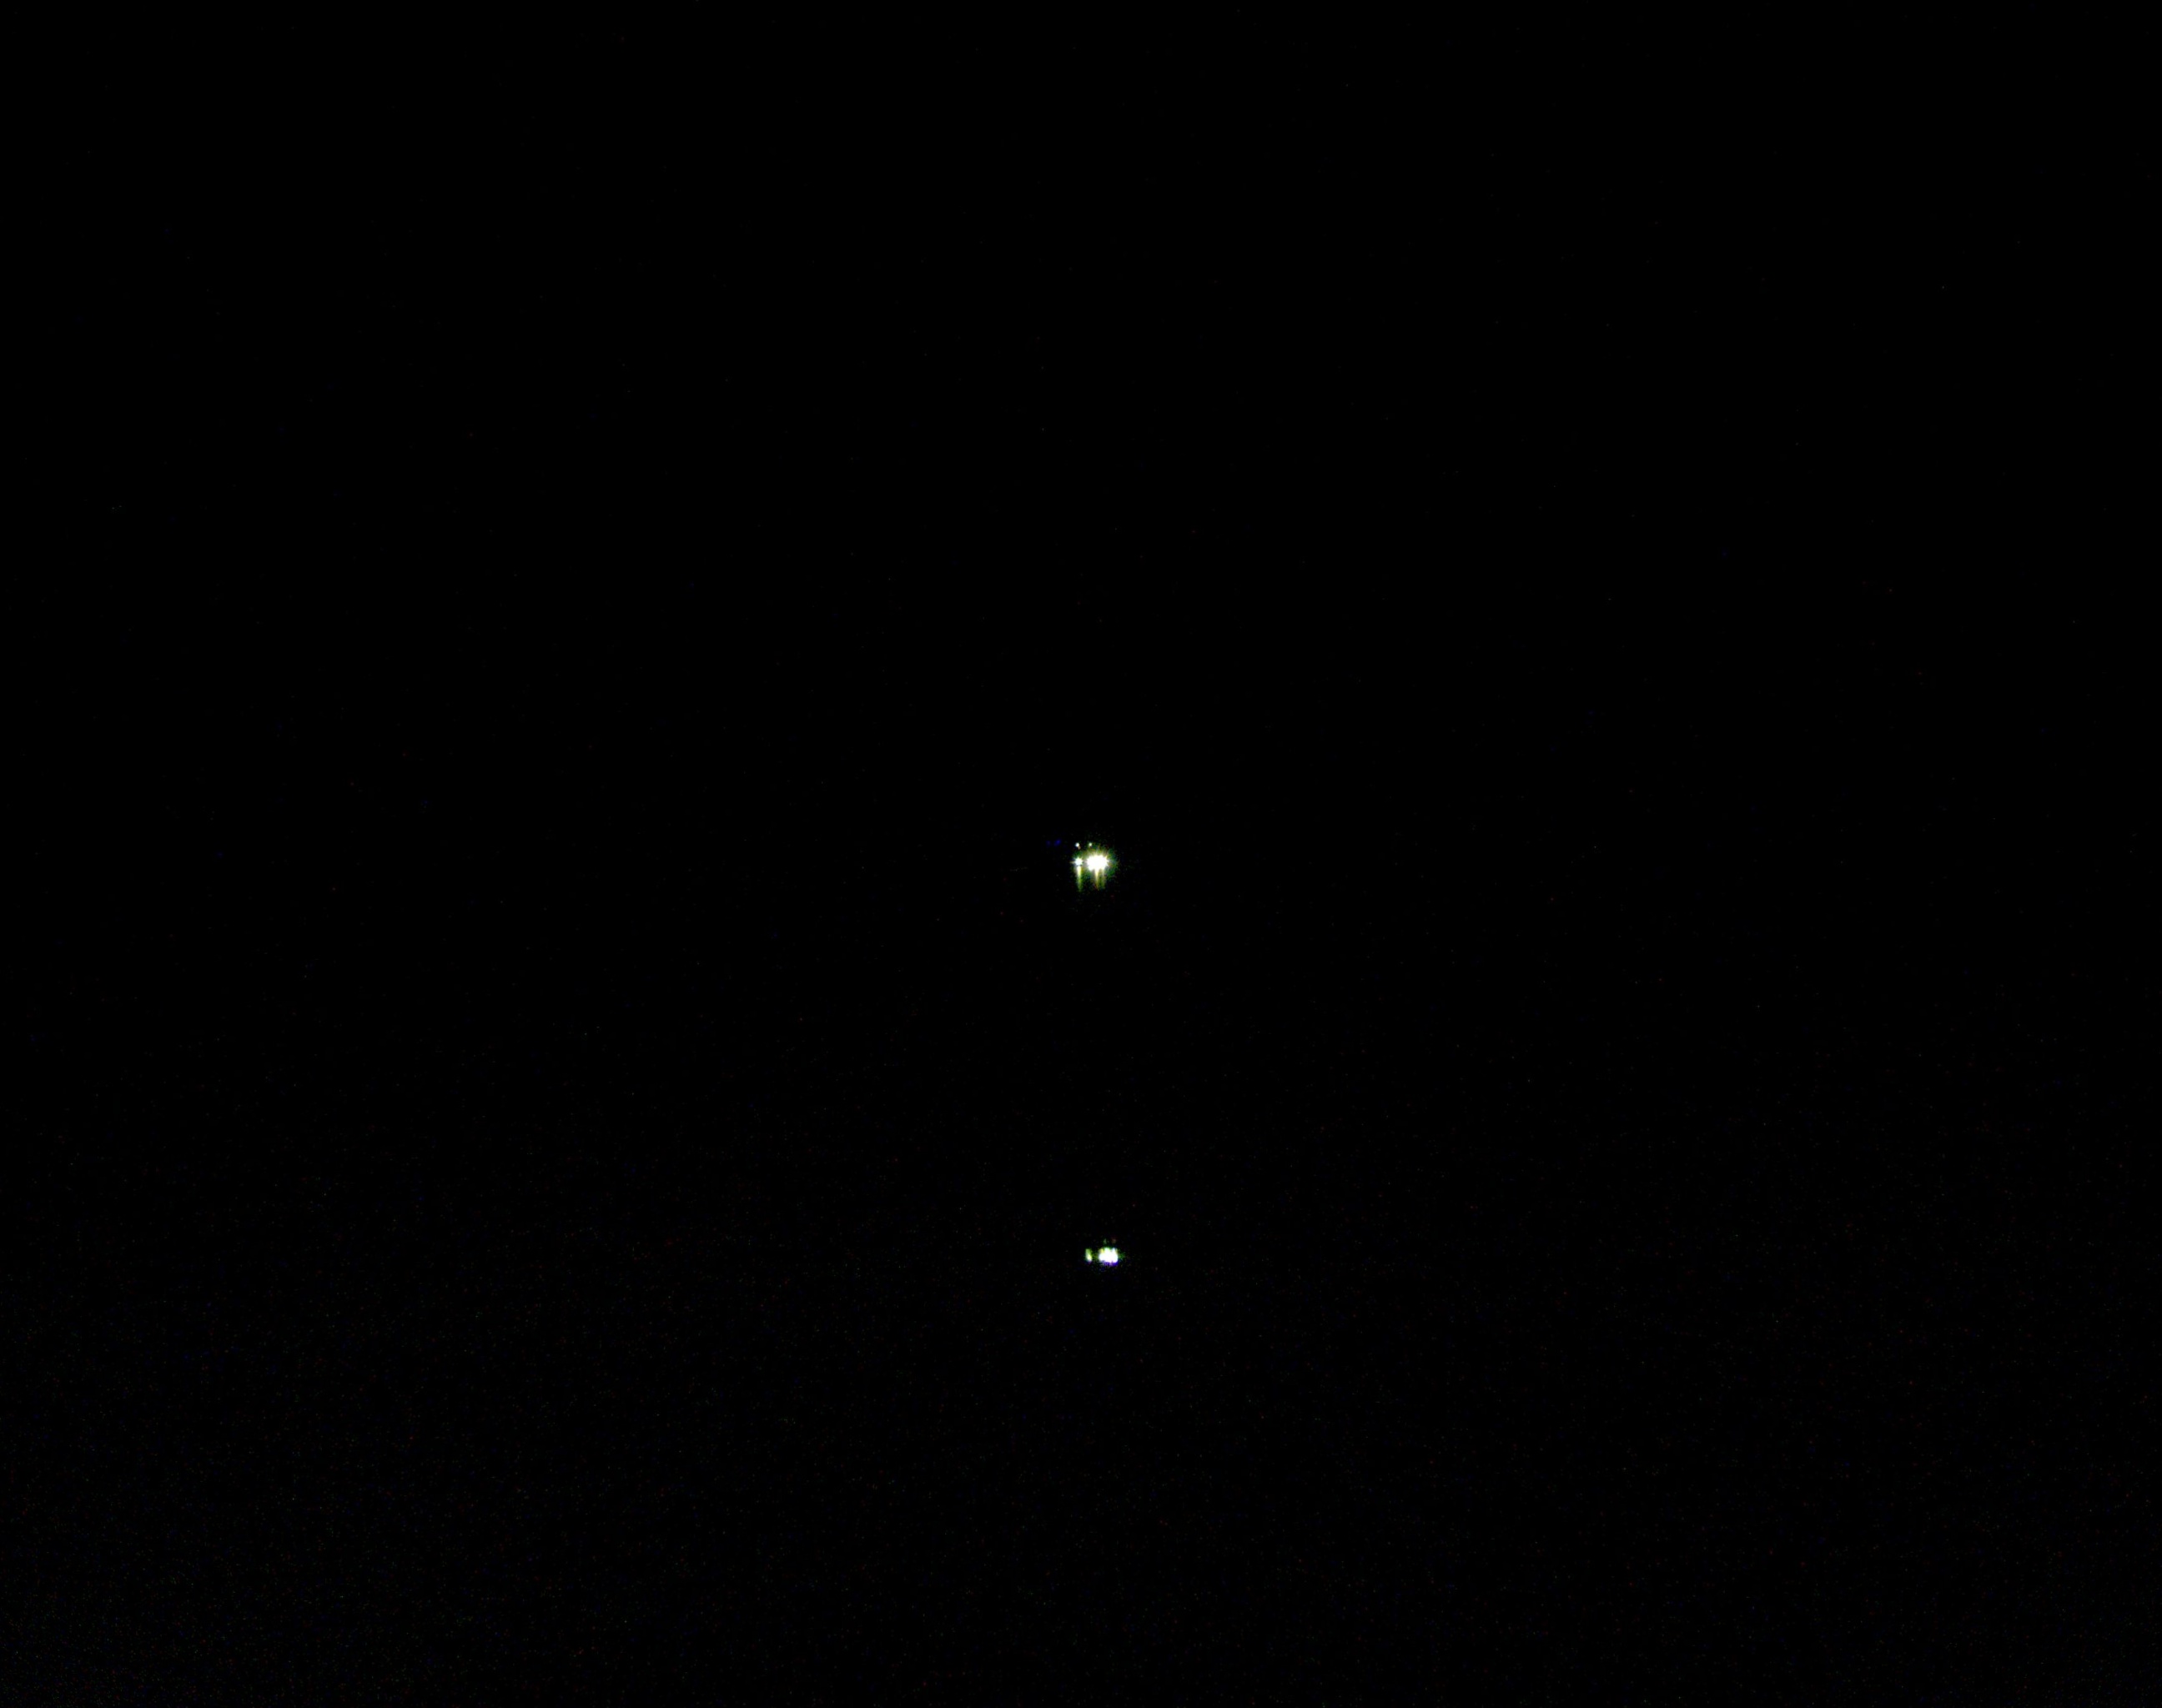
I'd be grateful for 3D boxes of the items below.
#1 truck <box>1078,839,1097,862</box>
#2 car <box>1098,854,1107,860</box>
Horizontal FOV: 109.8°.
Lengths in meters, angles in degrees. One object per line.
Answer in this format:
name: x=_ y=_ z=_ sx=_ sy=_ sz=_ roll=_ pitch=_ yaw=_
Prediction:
truck: x=1.203 y=-0.656 z=138.972 sx=3.003 sy=3.876 sz=12.889 roll=-2 pitch=0 yaw=2
car: x=5.120 y=0.687 z=182.169 sx=1.845 sy=1.475 sz=4.294 roll=-2 pitch=0 yaw=4
